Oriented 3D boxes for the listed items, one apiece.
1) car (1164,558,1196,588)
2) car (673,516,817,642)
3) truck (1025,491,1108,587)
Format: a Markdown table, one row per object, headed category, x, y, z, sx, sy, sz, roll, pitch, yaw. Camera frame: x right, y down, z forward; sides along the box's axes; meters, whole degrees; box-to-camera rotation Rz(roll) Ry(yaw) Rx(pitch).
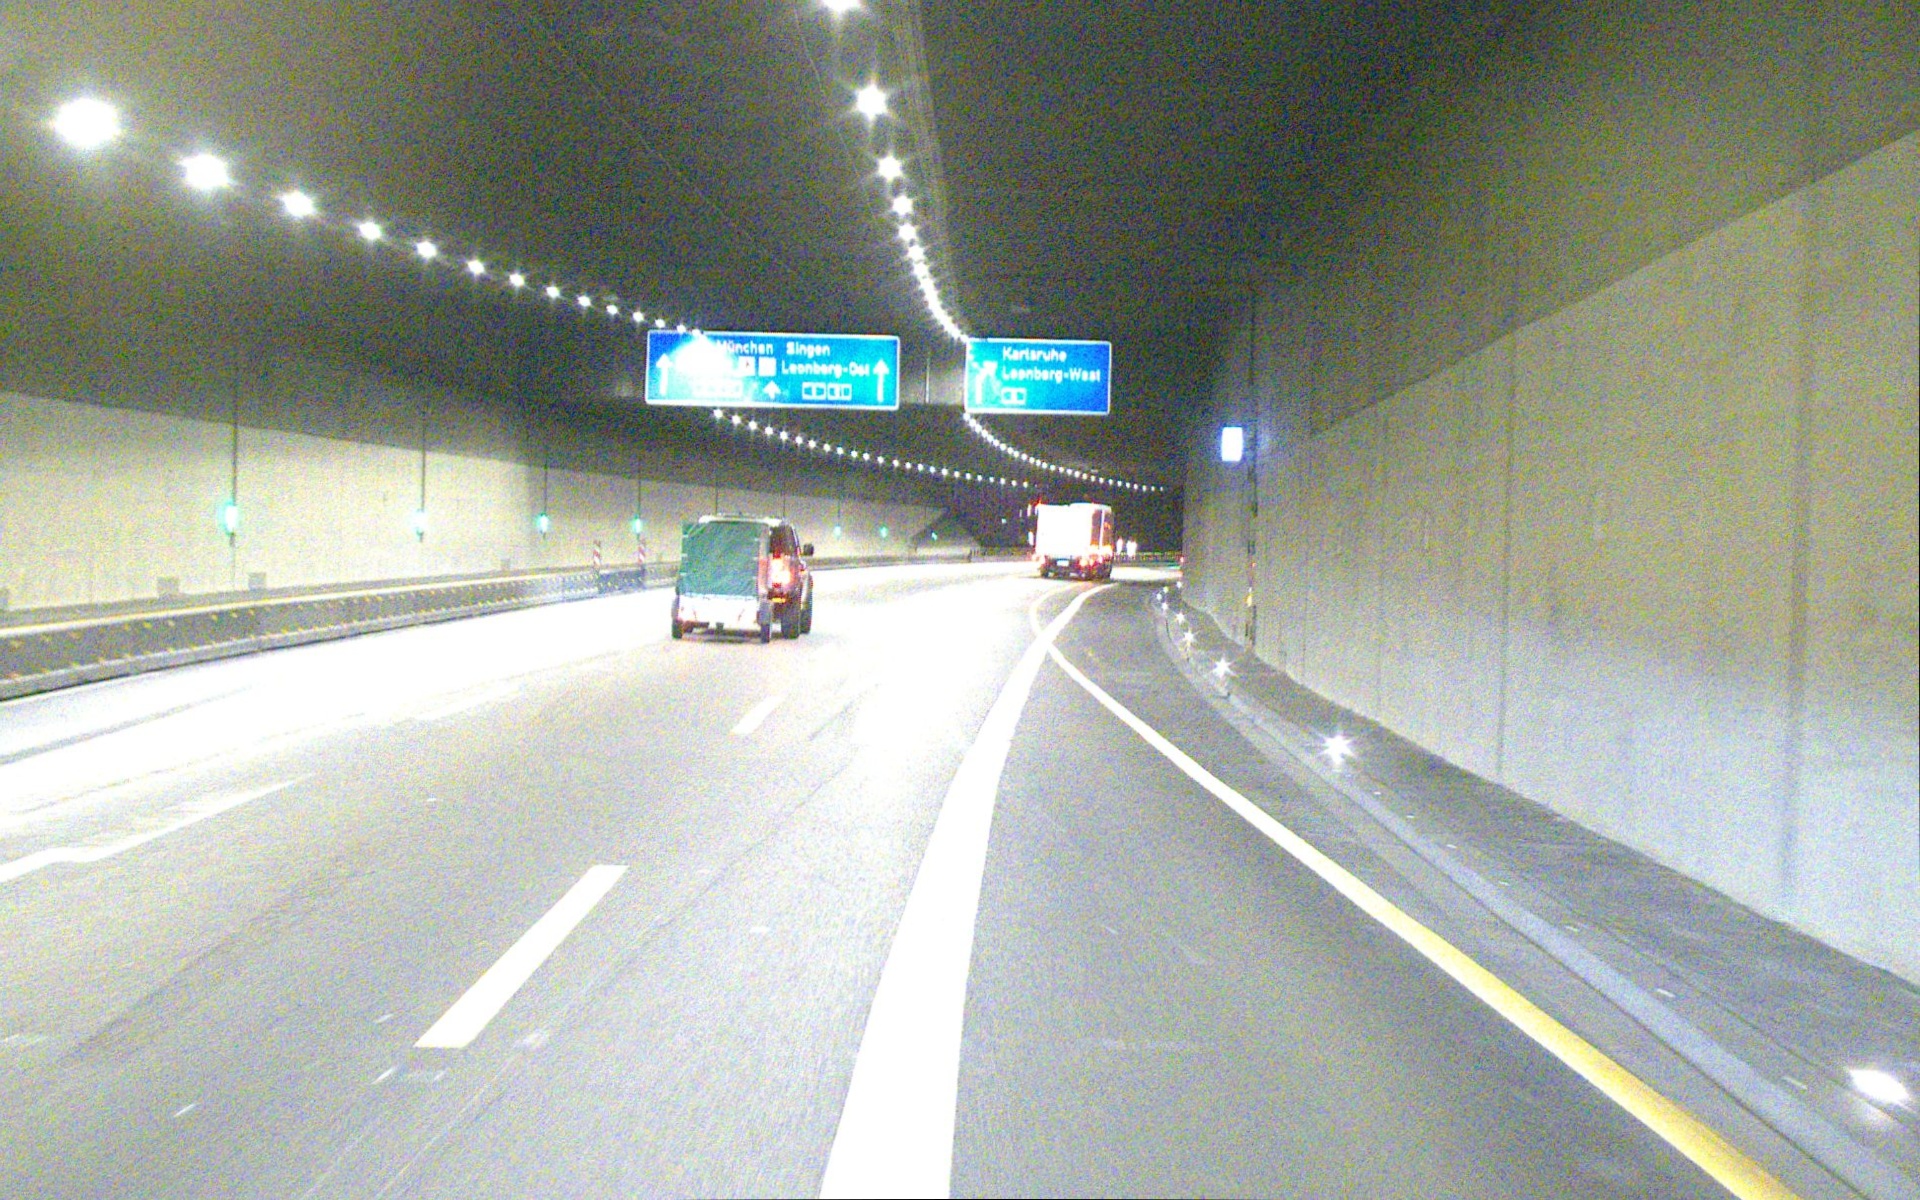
| category | x | y | z | sx | sy | sz | roll | pitch | yaw |
| --- | --- | --- | --- | --- | --- | --- | --- | --- | --- |
| car | 14.361 | -1.796 | 224.421 | 1.994 | 1.888 | 5.531 | 0 | 1 | 5 |
| car | -3.456 | -0.295 | 56.196 | 1.993 | 1.889 | 5.453 | 0 | -1 | 0 |
| truck | 5.157 | -2.882 | 164.101 | 3.474 | 4.301 | 10.951 | 2 | 1 | 3 |
